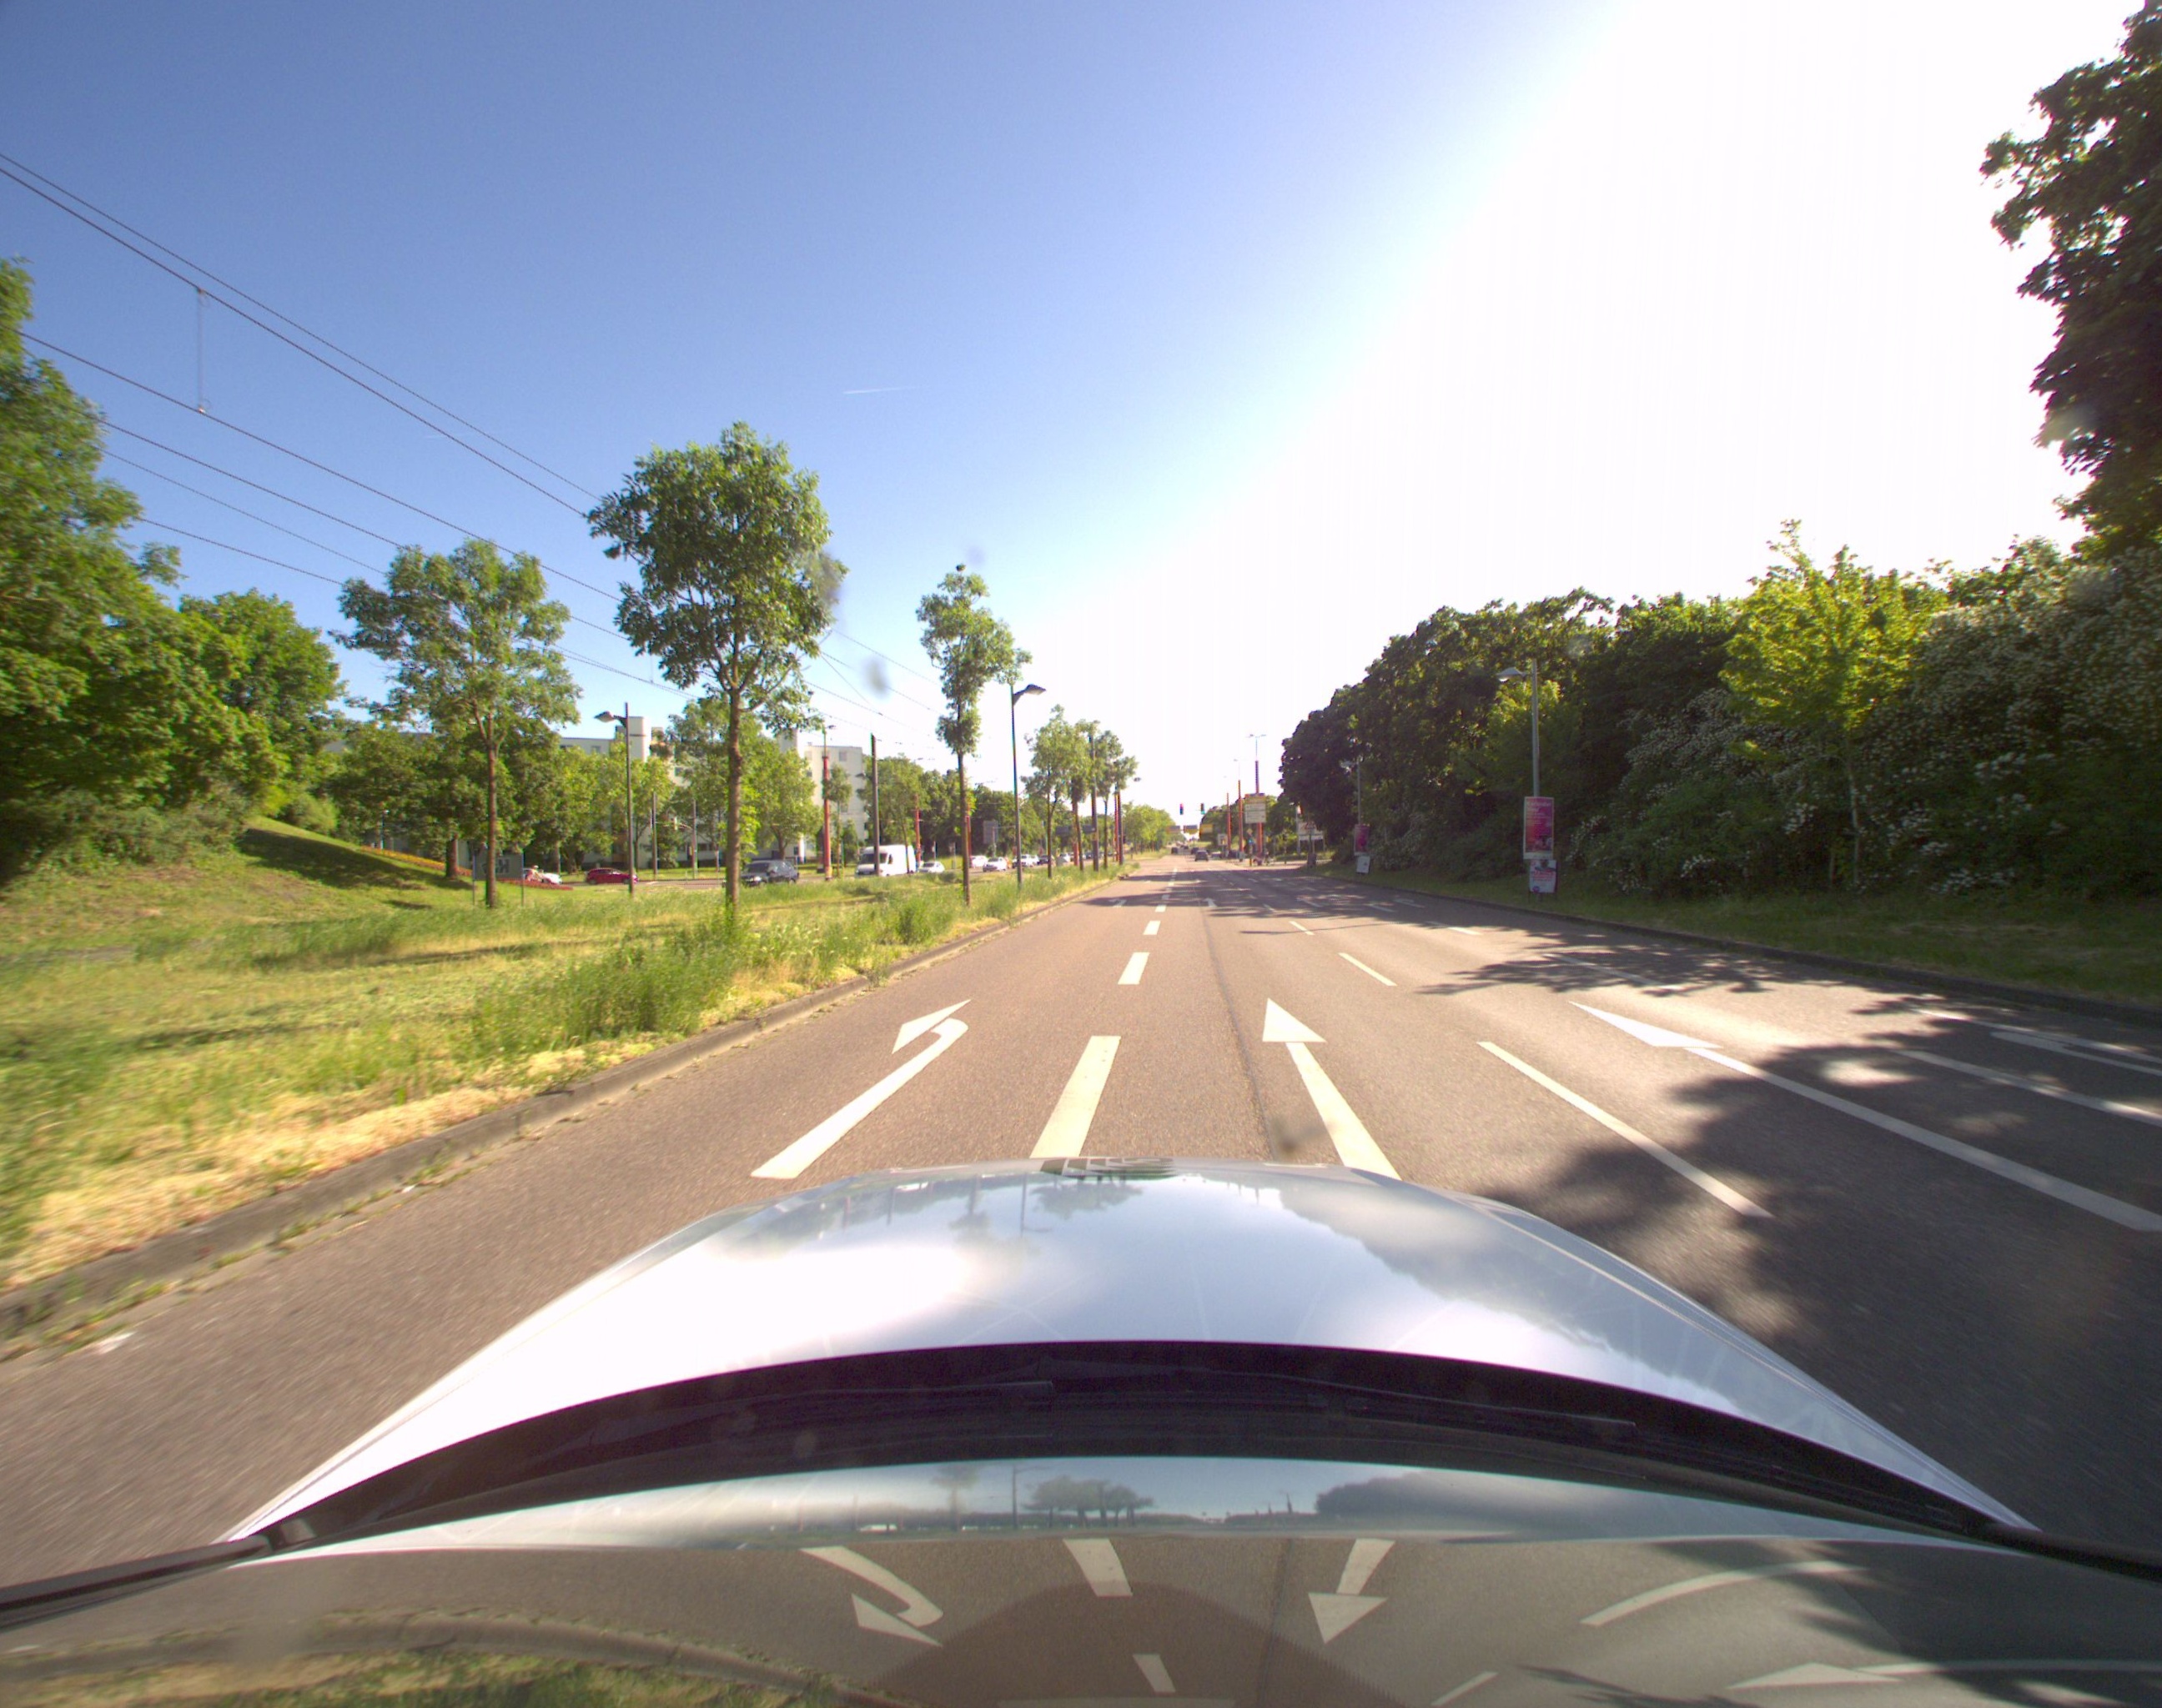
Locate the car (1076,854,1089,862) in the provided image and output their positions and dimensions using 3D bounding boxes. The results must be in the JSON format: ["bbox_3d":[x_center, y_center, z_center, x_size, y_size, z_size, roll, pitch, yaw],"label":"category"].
[{"bbox_3d":[0.312,0.800,151.920,1.695,1.423,4.652,-2,0,7],"label":"car"}]

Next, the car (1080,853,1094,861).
[{"bbox_3d":[1.155,0.590,160.907,1.982,1.594,4.475,-2,0,9],"label":"car"}]

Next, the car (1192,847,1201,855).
[{"bbox_3d":[29.399,-0.821,206.671,2.143,2.013,4.008,-2,0,7],"label":"car"}]

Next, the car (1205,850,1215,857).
[{"bbox_3d":[30.116,-0.053,190.045,1.983,1.541,4.008,-1,-1,7],"label":"car"}]

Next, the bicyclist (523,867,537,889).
[{"bbox_3d":[-37.467,1.639,55.380,0.761,1.430,0.743,0,0,-38],"label":"bicyclist"}]

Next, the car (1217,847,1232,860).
[{"bbox_3d":[21.605,-0.073,123.055,1.983,1.887,4.008,-1,0,7],"label":"car"}]

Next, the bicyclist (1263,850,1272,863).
[{"bbox_3d":[18.859,0.281,82.283,0.738,1.341,0.707,-1,0,-3],"label":"bicyclist"}]

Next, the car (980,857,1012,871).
[{"bbox_3d":[-8.861,1.024,85.118,1.886,1.398,4.560,-1,0,13],"label":"car"}]

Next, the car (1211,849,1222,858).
[{"bbox_3d":[24.946,-0.066,150.034,1.983,1.540,4.008,-1,0,7],"label":"car"}]

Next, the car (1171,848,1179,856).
[{"bbox_3d":[25.093,-0.604,217.940,1.982,2.013,4.009,-1,0,8],"label":"car"}]

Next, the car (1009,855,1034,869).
[{"bbox_3d":[-7.115,0.919,98.270,1.883,1.621,4.669,-1,0,10],"label":"car"}]

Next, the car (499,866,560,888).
[{"bbox_3d":[-46.790,1.948,69.200,4.005,1.750,1.897,-1,0,-24],"label":"car"}]

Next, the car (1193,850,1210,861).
[{"bbox_3d":[16.605,0.244,112.012,1.985,1.496,4.004,-1,0,3],"label":"car"}]

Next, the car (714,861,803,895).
[{"bbox_3d":[-16.576,1.208,42.202,1.983,1.584,5.283,-1,0,7],"label":"car"}]

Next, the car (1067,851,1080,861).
[{"bbox_3d":[-1.294,0.348,142.222,1.580,1.472,4.192,-3,0,8],"label":"car"}]

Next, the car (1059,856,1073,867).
[{"bbox_3d":[-2.378,1.210,130.569,1.753,1.608,3.766,-2,0,8],"label":"car"}]

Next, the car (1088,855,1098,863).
[{"bbox_3d":[2.600,1.014,174.381,1.791,1.707,4.068,-2,0,7],"label":"car"}]

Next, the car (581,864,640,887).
[{"bbox_3d":[-40.985,1.875,71.059,4.281,1.901,1.984,-1,0,-24],"label":"car"}]

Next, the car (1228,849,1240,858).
[{"bbox_3d":[25.060,-0.113,133.732,1.729,1.341,3.087,-1,0,7],"label":"car"}]

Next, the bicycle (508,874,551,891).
[{"bbox_3d":[-37.481,1.940,55.365,2.372,1.081,0.469,-1,0,-39],"label":"bicycle"}]

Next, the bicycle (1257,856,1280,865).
[{"bbox_3d":[18.928,0.642,82.285,2.158,0.878,0.559,-1,0,-5],"label":"bicycle"}]

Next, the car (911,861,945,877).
[{"bbox_3d":[-13.677,1.337,73.145,1.788,1.293,4.009,-1,0,8],"label":"car"}]

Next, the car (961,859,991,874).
[{"bbox_3d":[-15.361,1.806,119.212,1.974,2.013,4.435,-2,0,30],"label":"car"}]

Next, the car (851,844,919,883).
[{"bbox_3d":[-12.772,0.593,53.691,2.029,2.369,6.893,-1,0,7],"label":"car"}]

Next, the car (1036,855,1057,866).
[{"bbox_3d":[-4.796,0.929,114.858,1.982,1.409,5.002,-1,0,8],"label":"car"}]
